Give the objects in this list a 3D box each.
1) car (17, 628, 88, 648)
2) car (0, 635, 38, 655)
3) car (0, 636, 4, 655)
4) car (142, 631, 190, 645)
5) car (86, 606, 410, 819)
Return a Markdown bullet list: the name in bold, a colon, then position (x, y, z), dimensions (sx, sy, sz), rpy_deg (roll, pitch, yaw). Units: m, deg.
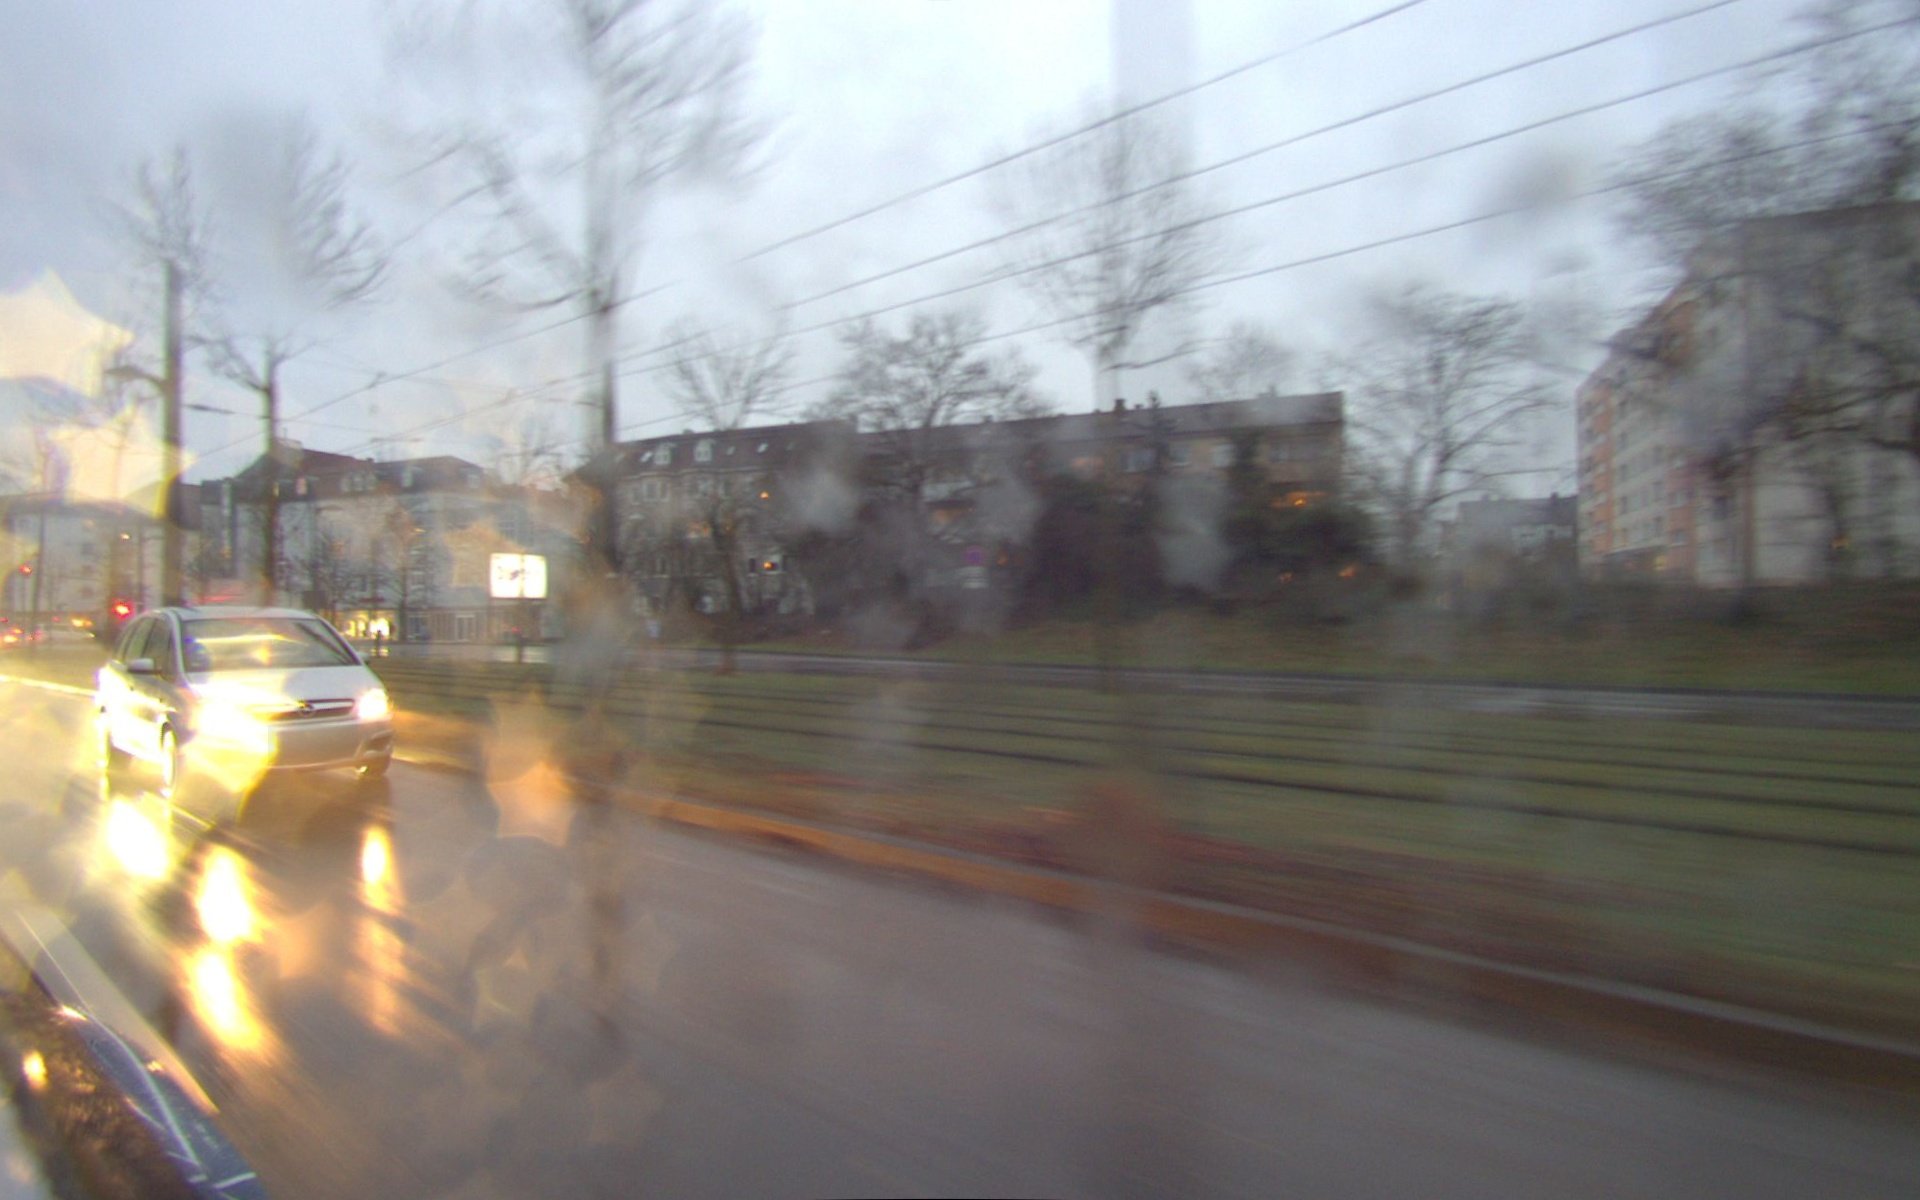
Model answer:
- **car**: position (-88.959, 3.715, 99.274), dimensions (2.311, 1.871, 4.640), rpy_deg (-1, -2, 21)
- **car**: position (-66.921, 3.173, 71.195), dimensions (4.272, 1.365, 1.879), rpy_deg (-2, -2, 30)
- **car**: position (-72.228, 3.382, 74.280), dimensions (4.274, 1.365, 1.878), rpy_deg (-2, -2, 31)
- **car**: position (-89.253, 4.227, 113.753), dimensions (1.770, 1.487, 3.863), rpy_deg (-2, -2, 28)
- **car**: position (-6.786, 0.893, 9.492), dimensions (3.921, 1.587, 1.647), rpy_deg (-2, -2, 42)
